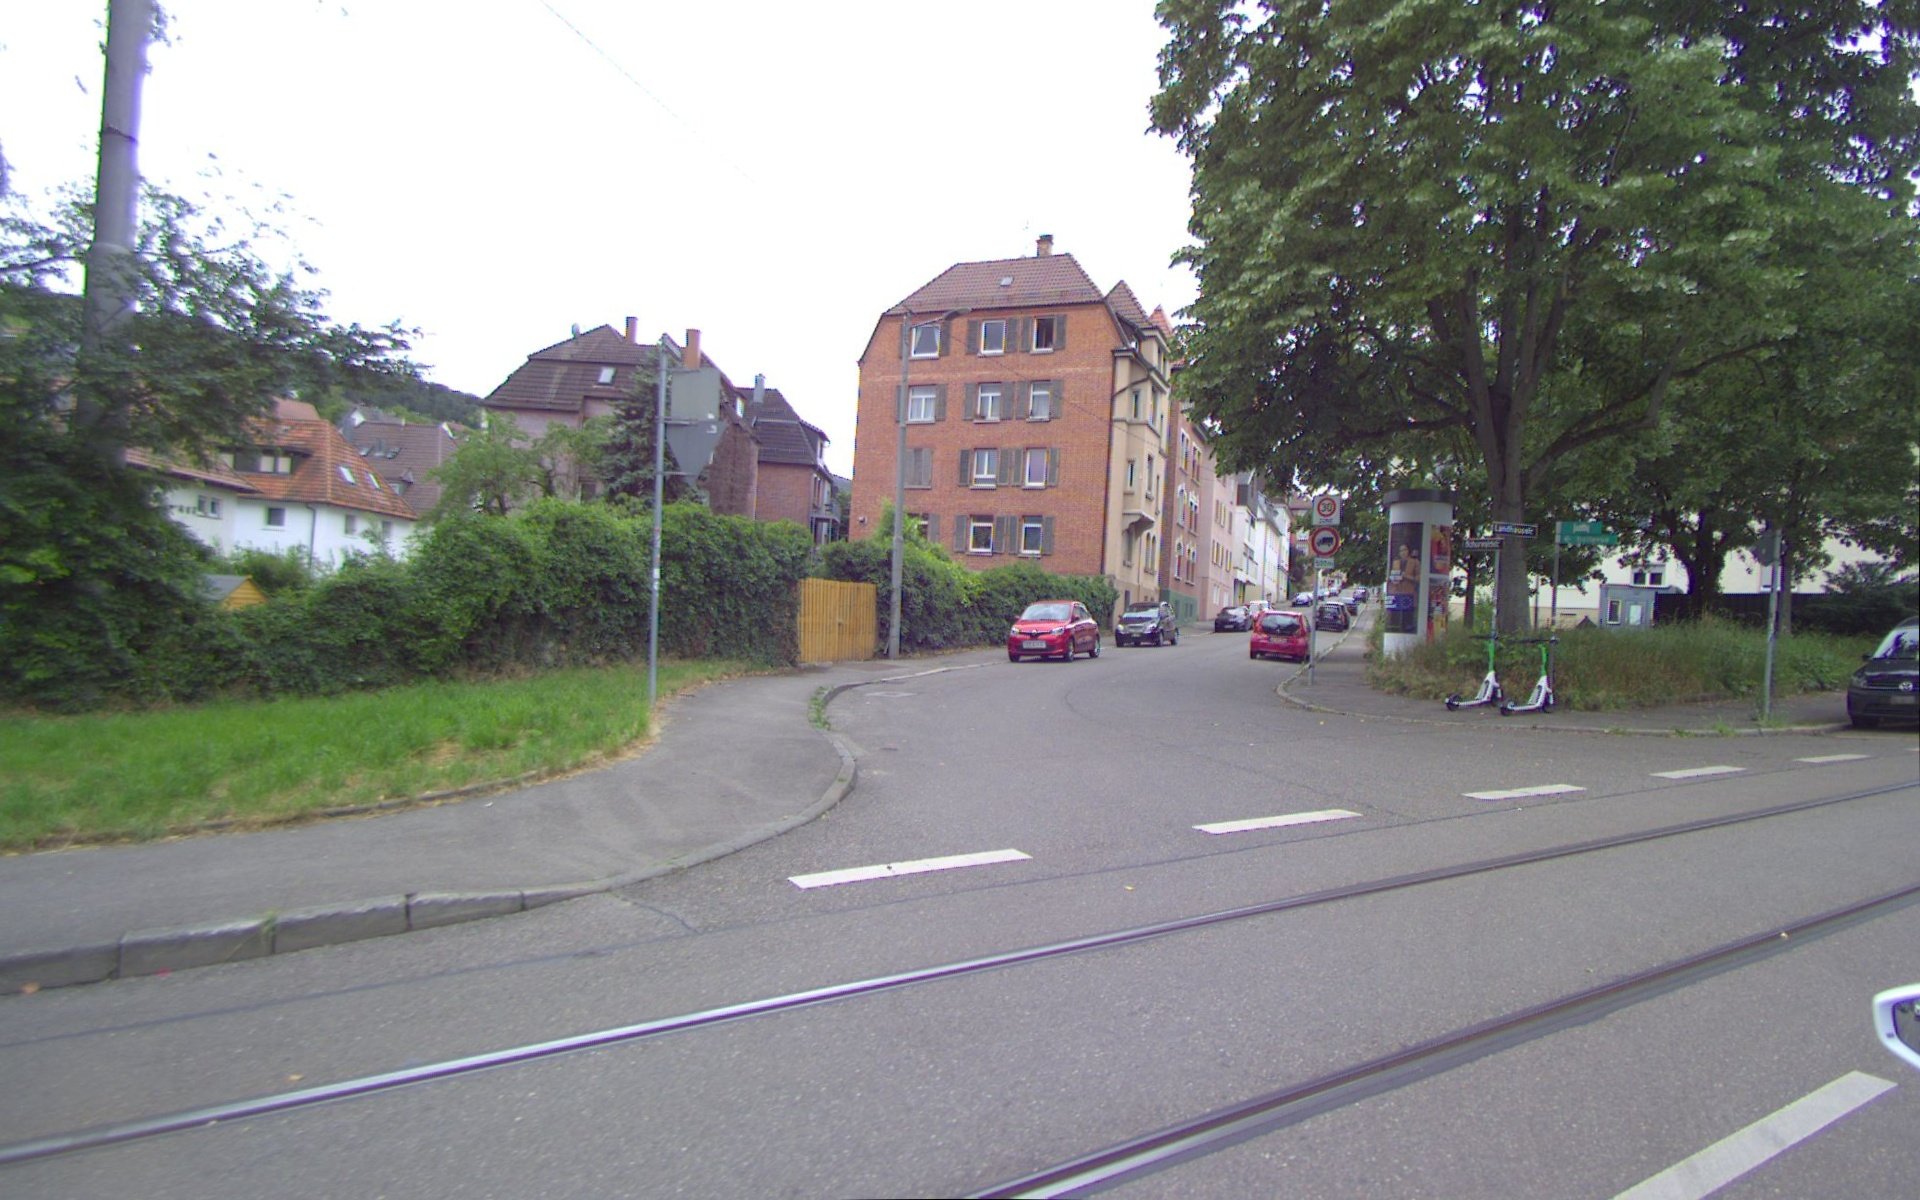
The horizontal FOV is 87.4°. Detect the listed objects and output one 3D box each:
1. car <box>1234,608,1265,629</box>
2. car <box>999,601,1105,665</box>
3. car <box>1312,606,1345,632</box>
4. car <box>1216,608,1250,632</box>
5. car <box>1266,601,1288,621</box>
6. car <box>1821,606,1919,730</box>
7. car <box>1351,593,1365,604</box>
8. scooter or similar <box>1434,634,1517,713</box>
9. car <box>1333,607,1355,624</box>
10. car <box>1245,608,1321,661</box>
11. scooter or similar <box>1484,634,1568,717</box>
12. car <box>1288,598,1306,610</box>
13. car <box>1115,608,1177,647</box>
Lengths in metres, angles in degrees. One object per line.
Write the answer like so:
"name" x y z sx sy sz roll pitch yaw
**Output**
"car" 18.606 1.179 64.507 1.429 1.252 3.779 2 1 23
"car" 2.480 0.790 26.298 1.716 1.497 3.612 2 1 23
"car" 22.508 1.113 61.249 1.644 1.434 3.728 2 1 23
"car" 15.574 1.093 57.206 1.429 1.252 3.419 2 1 23
"car" 26.473 0.943 83.803 1.429 1.498 3.780 2 -1 23
"car" 15.760 1.031 15.870 4.611 1.798 1.755 1 -3 -29
"car" 53.158 -0.230 134.193 1.644 1.434 3.728 2 1 23
"scooter or similar" 8.244 1.149 16.040 1.697 1.161 0.310 -1 2 -31
"car" 34.462 1.378 90.034 1.644 1.434 3.728 2 1 23
"car" 9.893 0.998 30.644 1.622 1.434 3.726 2 1 27
"scooter or similar" 8.724 1.140 15.459 1.697 1.161 0.310 -1 2 -31
"car" 35.318 0.411 105.187 1.429 1.252 3.419 2 1 23
"car" 6.829 0.961 36.627 1.429 1.252 3.779 2 1 23
